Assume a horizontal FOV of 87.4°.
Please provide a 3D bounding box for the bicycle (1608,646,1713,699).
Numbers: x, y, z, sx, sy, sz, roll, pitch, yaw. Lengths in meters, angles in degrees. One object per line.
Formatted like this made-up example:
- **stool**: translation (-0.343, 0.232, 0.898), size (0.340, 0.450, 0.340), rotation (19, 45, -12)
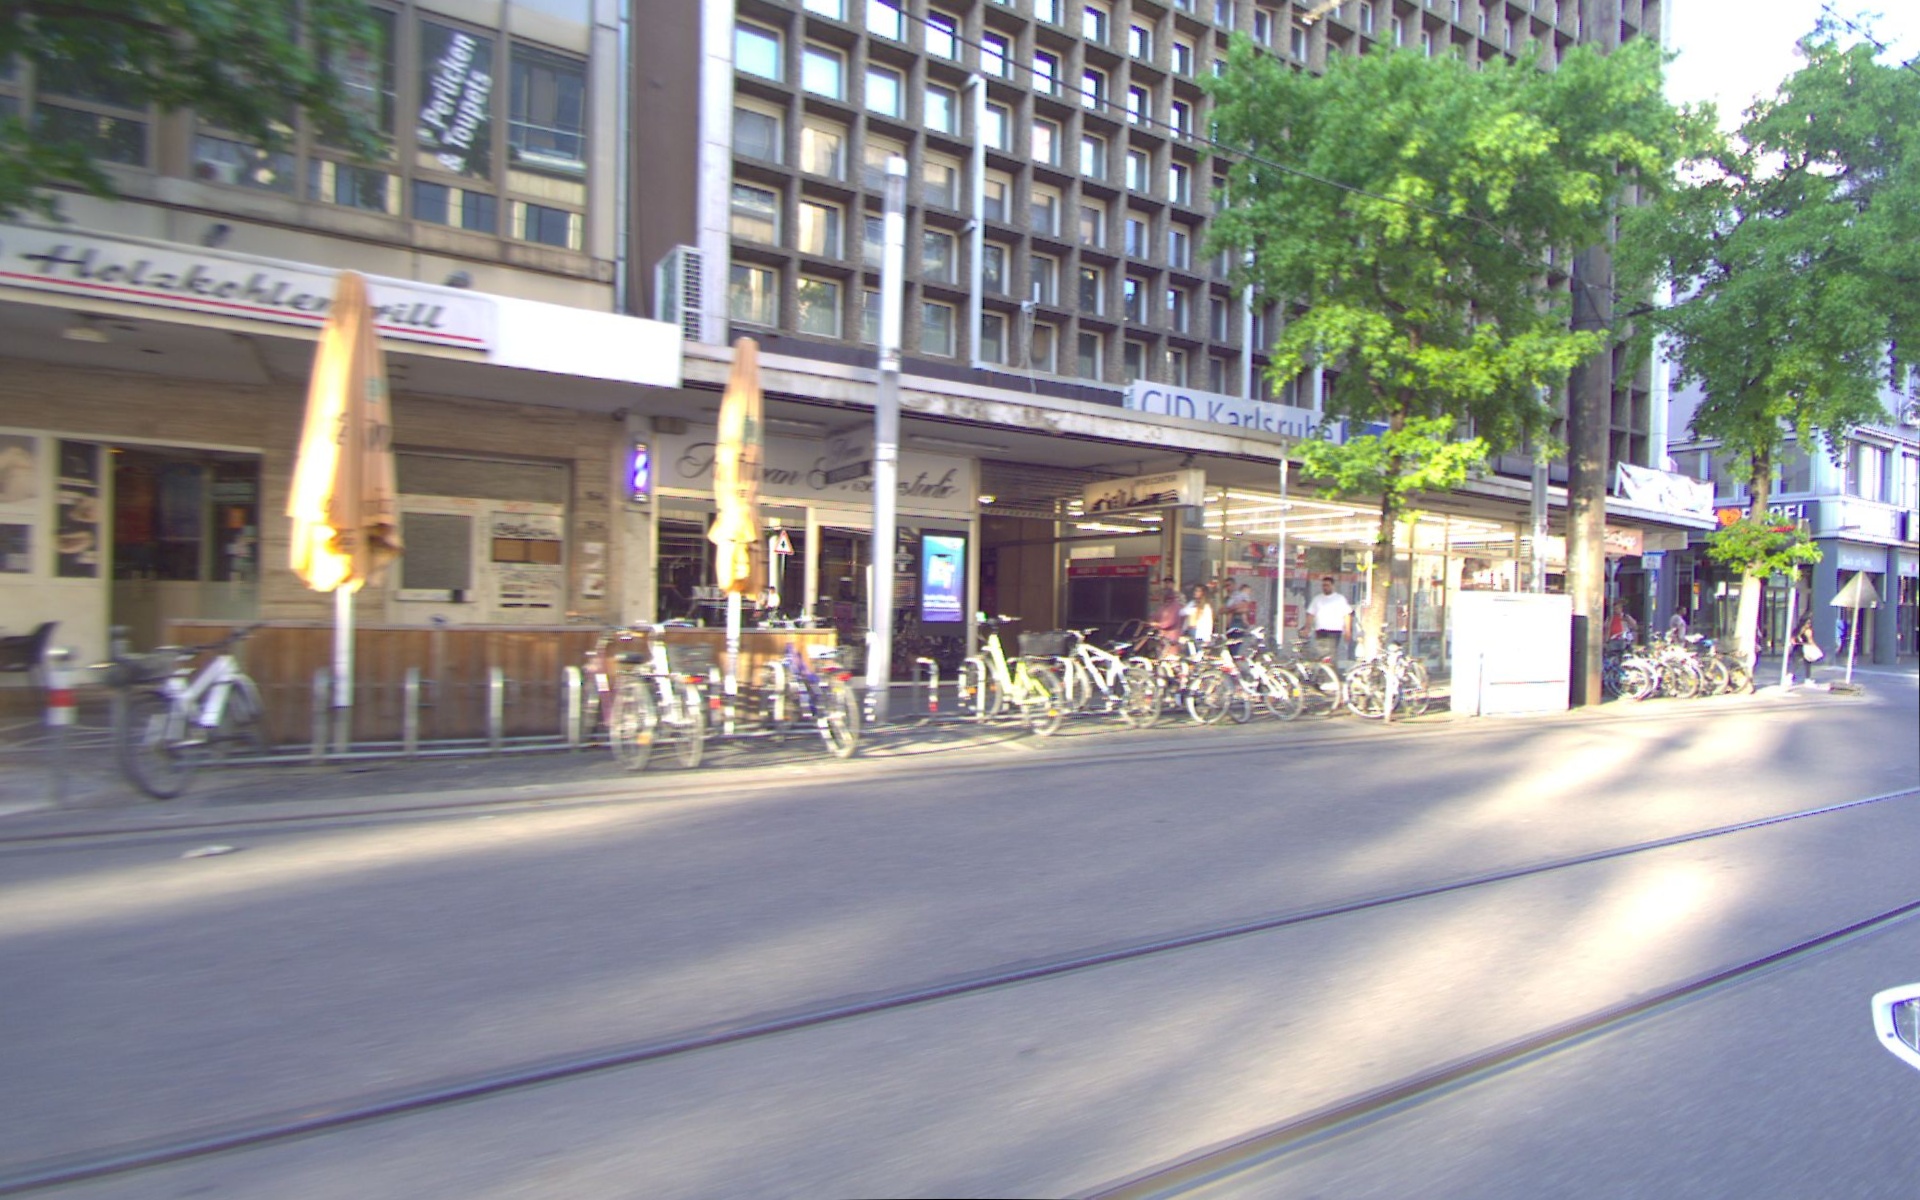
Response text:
- **bicycle**: translation (12.225, 1.252, 17.580), size (0.340, 0.794, 1.486), rotation (1, 1, -28)

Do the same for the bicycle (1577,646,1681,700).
- **bicycle**: translation (11.529, 1.236, 17.342), size (0.340, 0.794, 1.486), rotation (1, 1, -28)

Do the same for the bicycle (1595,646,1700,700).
- **bicycle**: translation (11.896, 1.250, 17.421), size (0.340, 0.794, 1.486), rotation (1, 1, -28)

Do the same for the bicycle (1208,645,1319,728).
- **bicycle**: translation (3.722, 1.039, 12.415), size (0.340, 0.852, 1.486), rotation (1, 1, -28)

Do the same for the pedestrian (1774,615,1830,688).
- **pedestrian**: translation (19.717, 1.194, 23.525), size (0.970, 1.644, 0.744), rotation (1, 0, -33)

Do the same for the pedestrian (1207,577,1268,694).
- **pedestrian**: translation (4.361, 0.544, 15.785), size (0.704, 1.790, 0.682), rotation (1, 0, 35)

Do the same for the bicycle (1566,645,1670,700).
- **bicycle**: translation (11.219, 1.226, 17.167), size (0.340, 0.794, 1.486), rotation (1, 1, -28)

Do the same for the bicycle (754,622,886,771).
- **bicycle**: translation (-1.279, 0.791, 8.884), size (0.373, 1.092, 1.835), rotation (1, 1, -34)

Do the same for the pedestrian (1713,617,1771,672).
- **pedestrian**: translation (23.578, 1.325, 30.299), size (0.993, 1.583, 0.981), rotation (1, 0, 9)

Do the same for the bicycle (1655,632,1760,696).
- **bicycle**: translation (13.726, 1.157, 18.485), size (0.342, 1.042, 1.480), rotation (1, 2, -40)

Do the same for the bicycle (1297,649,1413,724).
- **bicycle**: translation (5.008, 1.073, 12.810), size (0.340, 0.794, 1.486), rotation (1, 1, -28)

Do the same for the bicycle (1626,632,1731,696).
- **bicycle**: translation (12.977, 1.141, 18.178), size (0.342, 1.023, 1.480), rotation (1, 2, -40)

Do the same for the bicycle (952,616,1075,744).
- **bicycle**: translation (0.519, 0.792, 10.636), size (0.372, 1.156, 1.838), rotation (1, 1, -28)

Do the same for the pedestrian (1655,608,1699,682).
- **pedestrian**: translation (17.702, 1.094, 24.809), size (0.712, 1.785, 0.818), rotation (1, 0, 25)

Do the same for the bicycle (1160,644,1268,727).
- **bicycle**: translation (3.069, 1.017, 12.266), size (0.340, 0.852, 1.486), rotation (1, 1, -28)

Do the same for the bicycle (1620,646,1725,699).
- **bicycle**: translation (12.546, 1.263, 17.735), size (0.340, 0.794, 1.486), rotation (1, 1, -28)

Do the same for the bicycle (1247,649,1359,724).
- **bicycle**: translation (4.311, 1.070, 12.723), size (0.340, 0.794, 1.486), rotation (1, 1, -28)

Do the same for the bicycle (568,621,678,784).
- **bicycle**: translation (-2.751, 0.758, 8.084), size (0.373, 1.092, 1.777), rotation (1, 1, -34)

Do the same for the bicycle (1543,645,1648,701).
- **bicycle**: translation (10.610, 1.208, 16.811), size (0.340, 0.794, 1.486), rotation (1, 1, -28)

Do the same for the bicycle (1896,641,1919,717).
- **bicycle**: translation (15.923, 1.261, 16.082), size (2.232, 1.158, 0.795), rotation (1, 2, -32)

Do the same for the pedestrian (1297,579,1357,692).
- **pedestrian**: translation (5.954, 0.558, 16.276), size (0.775, 1.790, 0.535), rotation (1, 0, 36)

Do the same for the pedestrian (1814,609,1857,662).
- **pedestrian**: translation (29.575, 1.197, 33.935), size (0.970, 1.729, 0.817), rotation (1, 0, -32)

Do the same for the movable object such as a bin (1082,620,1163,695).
- **movable object such as a bin**: translation (2.426, 0.841, 15.003), size (0.972, 1.053, 0.709), rotation (1, 0, -36)

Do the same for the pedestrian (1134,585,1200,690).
- **pedestrian**: translation (3.176, 0.564, 15.413), size (0.678, 1.568, 0.709), rotation (1, 0, -36)

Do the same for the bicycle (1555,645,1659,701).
- **bicycle**: translation (10.912, 1.217, 16.989), size (0.340, 0.794, 1.486), rotation (1, 1, -28)

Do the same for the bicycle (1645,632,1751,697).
- **bicycle**: translation (13.414, 1.148, 18.285), size (0.342, 1.042, 1.480), rotation (1, 2, -40)

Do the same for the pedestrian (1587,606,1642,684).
- **pedestrian**: translation (15.328, 1.041, 23.536), size (0.771, 1.785, 0.811), rotation (1, 0, -32)

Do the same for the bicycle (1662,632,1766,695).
- **bicycle**: translation (14.019, 1.168, 18.715), size (0.342, 1.042, 1.480), rotation (1, 2, -40)

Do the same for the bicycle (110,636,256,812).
- **bicycle**: translation (-5.153, 0.763, 6.735), size (0.372, 0.943, 1.591), rotation (1, 1, -23)

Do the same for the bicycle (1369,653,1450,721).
- **bicycle**: translation (5.843, 1.107, 13.028), size (1.393, 0.794, 0.341), rotation (1, 1, -39)

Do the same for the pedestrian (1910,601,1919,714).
- **pedestrian**: translation (15.947, 0.941, 16.086), size (0.839, 1.806, 0.795), rotation (1, 2, -31)

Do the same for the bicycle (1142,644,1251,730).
- **bicycle**: translation (2.792, 1.008, 11.993), size (0.340, 0.852, 1.486), rotation (1, 1, -28)

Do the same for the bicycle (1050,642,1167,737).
- **bicycle**: translation (1.634, 0.969, 11.248), size (0.341, 0.888, 1.482), rotation (1, 1, -36)

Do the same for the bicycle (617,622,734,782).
- **bicycle**: translation (-2.376, 0.771, 8.258), size (0.373, 1.092, 1.777), rotation (1, 1, -34)

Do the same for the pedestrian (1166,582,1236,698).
- **pedestrian**: translation (3.548, 0.574, 14.799), size (0.678, 1.661, 0.709), rotation (1, 0, -36)
